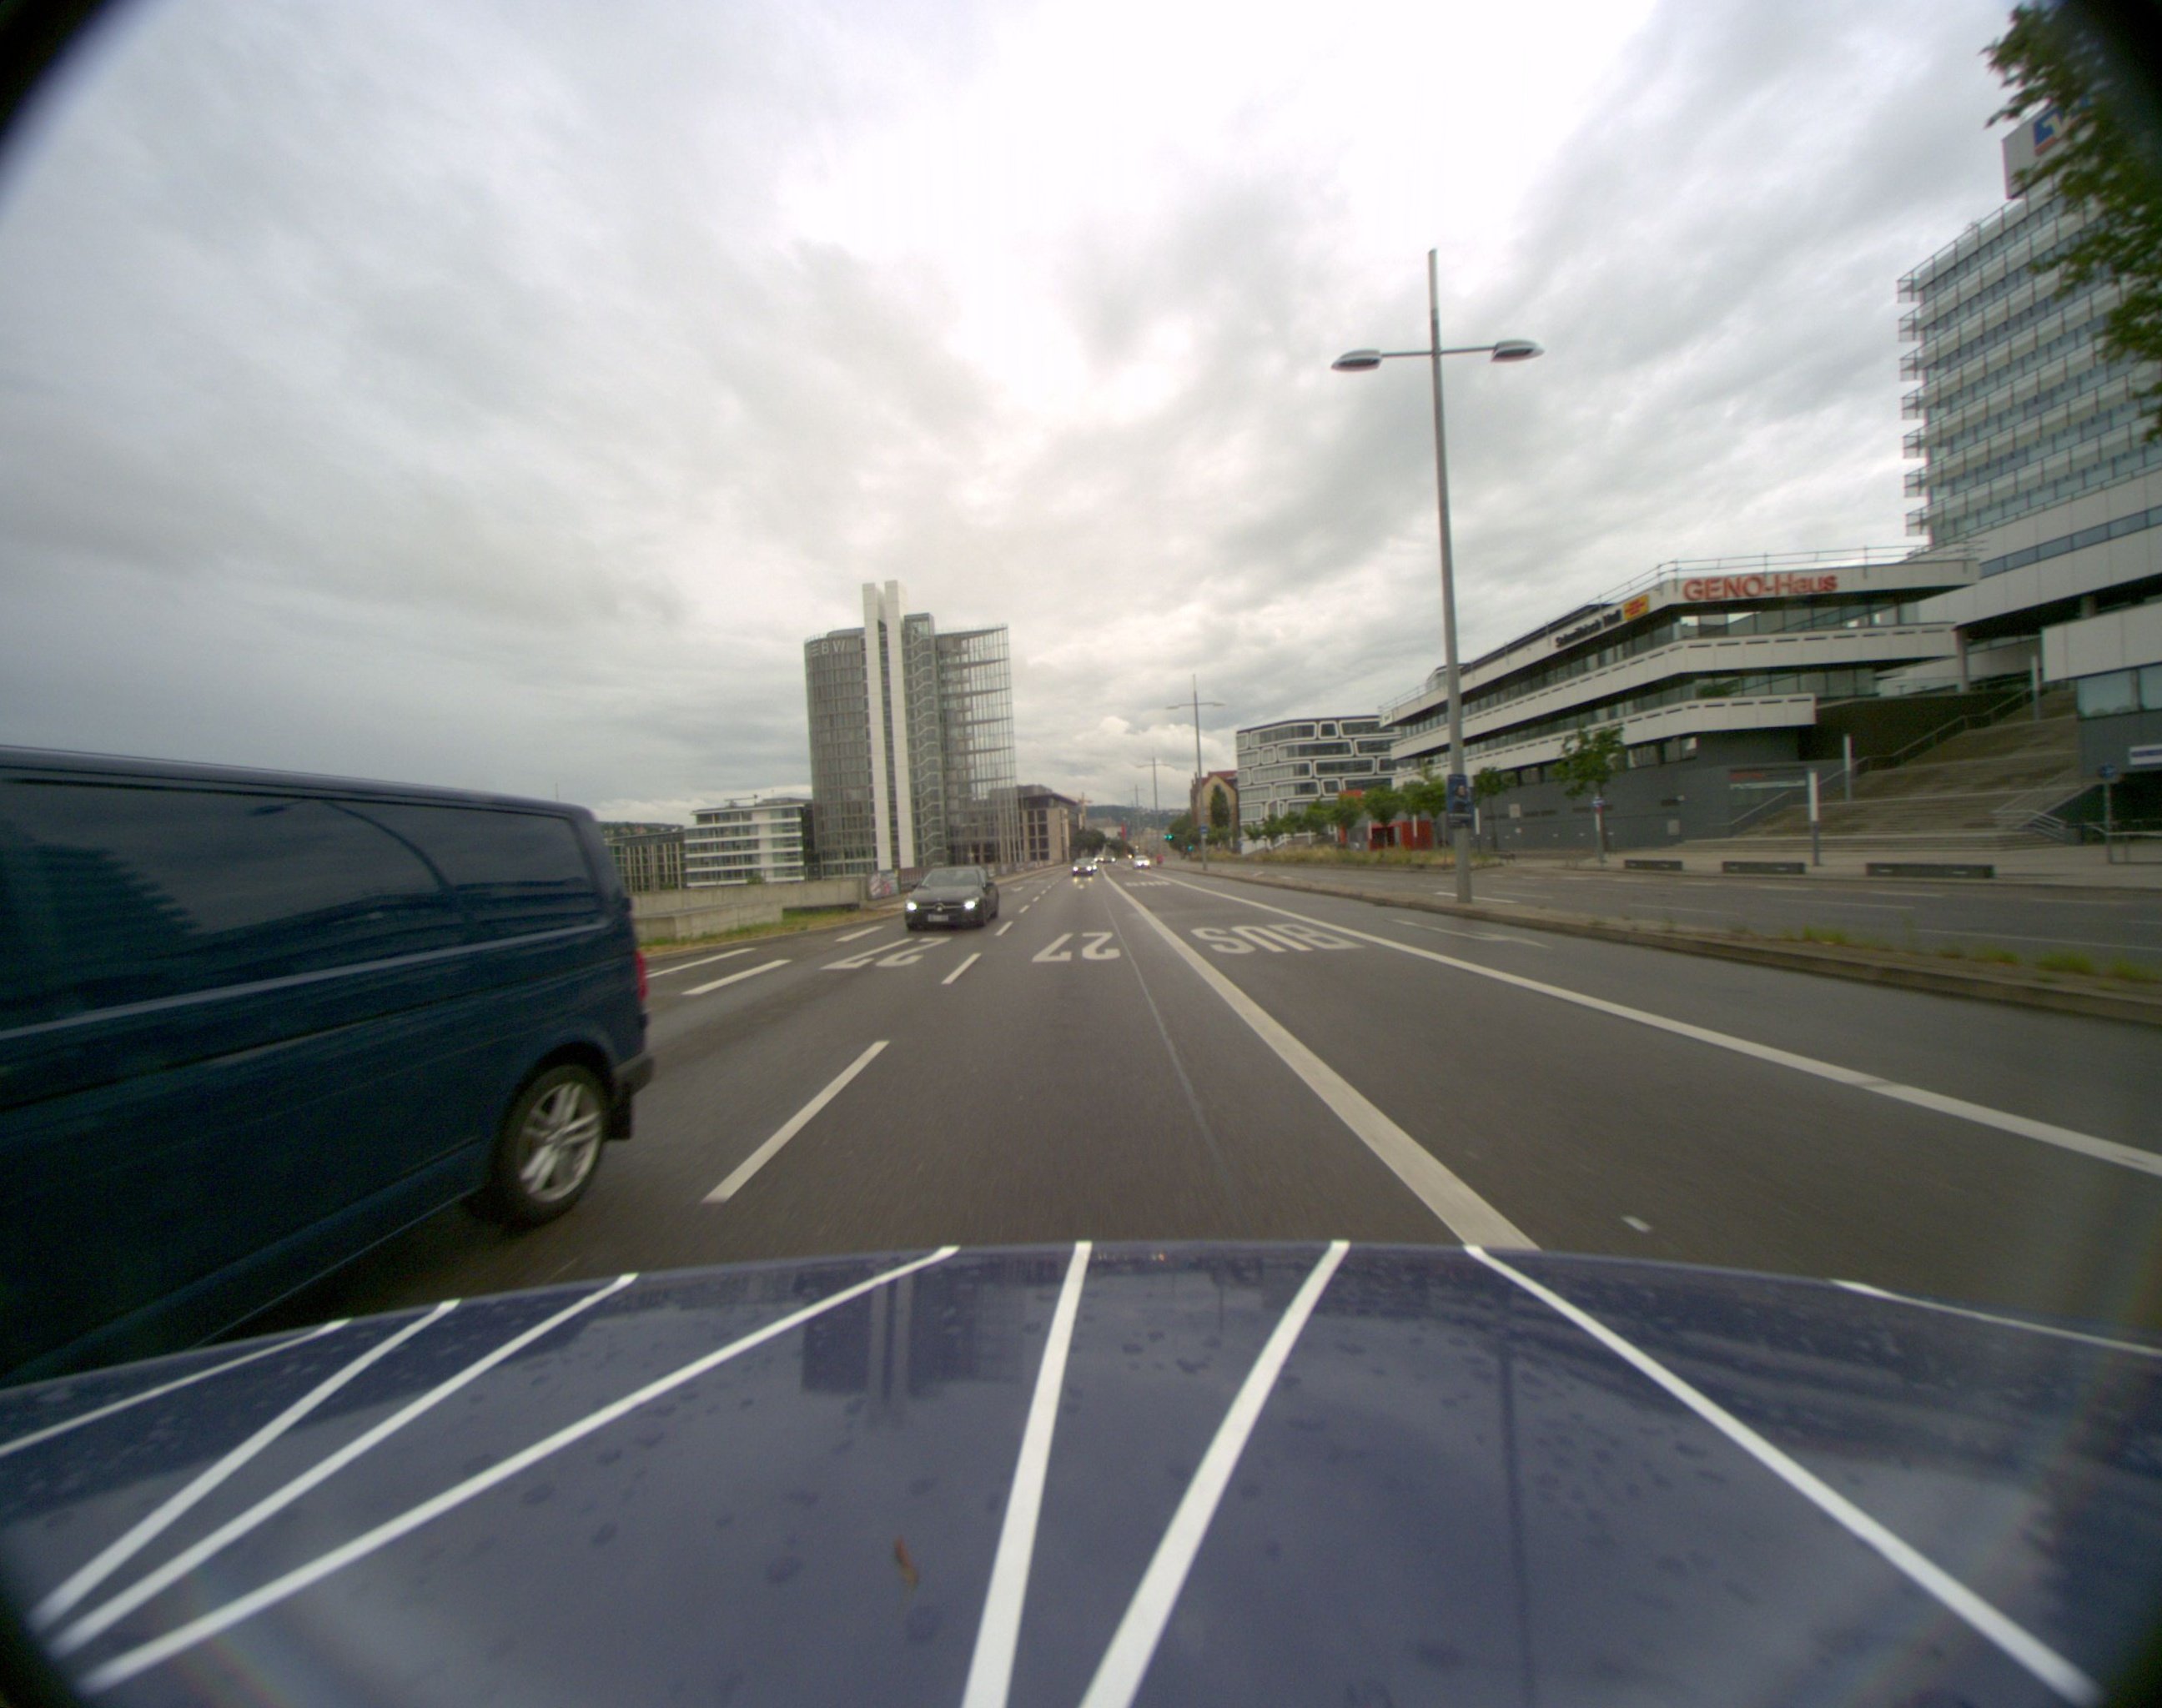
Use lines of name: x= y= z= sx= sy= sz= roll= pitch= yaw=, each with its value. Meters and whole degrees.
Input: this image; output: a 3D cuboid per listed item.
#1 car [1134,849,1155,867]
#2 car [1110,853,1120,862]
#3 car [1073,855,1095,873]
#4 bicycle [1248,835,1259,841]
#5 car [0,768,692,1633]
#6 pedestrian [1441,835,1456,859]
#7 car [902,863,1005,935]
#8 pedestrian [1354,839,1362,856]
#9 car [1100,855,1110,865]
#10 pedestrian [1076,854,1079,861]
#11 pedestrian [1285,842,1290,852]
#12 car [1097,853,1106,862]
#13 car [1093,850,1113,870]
car: x=7.020 y=0.396 z=84.288 sx=1.971 sy=1.816 sz=3.927 roll=-3 pitch=1 yaw=0
car: x=8.114 y=0.728 z=182.201 sx=1.998 sy=2.002 sz=3.999 roll=-2 pitch=1 yaw=0
car: x=0.286 y=0.802 z=63.991 sx=1.684 sy=1.379 sz=3.476 roll=-2 pitch=1 yaw=1
bicycle: x=25.953 y=-2.373 z=114.386 sx=0.610 sy=0.852 sz=1.653 roll=-3 pitch=1 yaw=-32
car: x=-3.384 y=0.797 z=1.898 sx=2.038 sy=1.871 sz=5.043 roll=-3 pitch=-1 yaw=1
pedestrian: x=27.673 y=-0.509 z=57.283 sx=0.786 sy=1.797 sz=0.628 roll=-2 pitch=1 yaw=2
car: x=-2.968 y=1.006 z=18.541 sx=1.727 sy=1.368 sz=4.154 roll=-2 pitch=1 yaw=0
pedestrian: x=29.202 y=-0.702 z=80.078 sx=0.631 sy=1.797 sz=0.628 roll=-2 pitch=1 yaw=2
car: x=5.363 y=1.340 z=167.718 sx=1.998 sy=2.002 sz=3.999 roll=-2 pitch=1 yaw=0
pedestrian: x=-0.740 y=0.727 z=161.334 sx=0.660 sy=1.601 sz=0.547 roll=-3 pitch=0 yaw=8
pedestrian: x=33.043 y=-1.161 z=121.612 sx=0.612 sy=1.602 sz=0.640 roll=-4 pitch=1 yaw=5
car: x=5.079 y=0.789 z=186.471 sx=1.998 sy=2.002 sz=3.999 roll=-2 pitch=1 yaw=0
car: x=2.287 y=0.638 z=80.768 sx=1.998 sy=2.002 sz=3.999 roll=-2 pitch=1 yaw=0
